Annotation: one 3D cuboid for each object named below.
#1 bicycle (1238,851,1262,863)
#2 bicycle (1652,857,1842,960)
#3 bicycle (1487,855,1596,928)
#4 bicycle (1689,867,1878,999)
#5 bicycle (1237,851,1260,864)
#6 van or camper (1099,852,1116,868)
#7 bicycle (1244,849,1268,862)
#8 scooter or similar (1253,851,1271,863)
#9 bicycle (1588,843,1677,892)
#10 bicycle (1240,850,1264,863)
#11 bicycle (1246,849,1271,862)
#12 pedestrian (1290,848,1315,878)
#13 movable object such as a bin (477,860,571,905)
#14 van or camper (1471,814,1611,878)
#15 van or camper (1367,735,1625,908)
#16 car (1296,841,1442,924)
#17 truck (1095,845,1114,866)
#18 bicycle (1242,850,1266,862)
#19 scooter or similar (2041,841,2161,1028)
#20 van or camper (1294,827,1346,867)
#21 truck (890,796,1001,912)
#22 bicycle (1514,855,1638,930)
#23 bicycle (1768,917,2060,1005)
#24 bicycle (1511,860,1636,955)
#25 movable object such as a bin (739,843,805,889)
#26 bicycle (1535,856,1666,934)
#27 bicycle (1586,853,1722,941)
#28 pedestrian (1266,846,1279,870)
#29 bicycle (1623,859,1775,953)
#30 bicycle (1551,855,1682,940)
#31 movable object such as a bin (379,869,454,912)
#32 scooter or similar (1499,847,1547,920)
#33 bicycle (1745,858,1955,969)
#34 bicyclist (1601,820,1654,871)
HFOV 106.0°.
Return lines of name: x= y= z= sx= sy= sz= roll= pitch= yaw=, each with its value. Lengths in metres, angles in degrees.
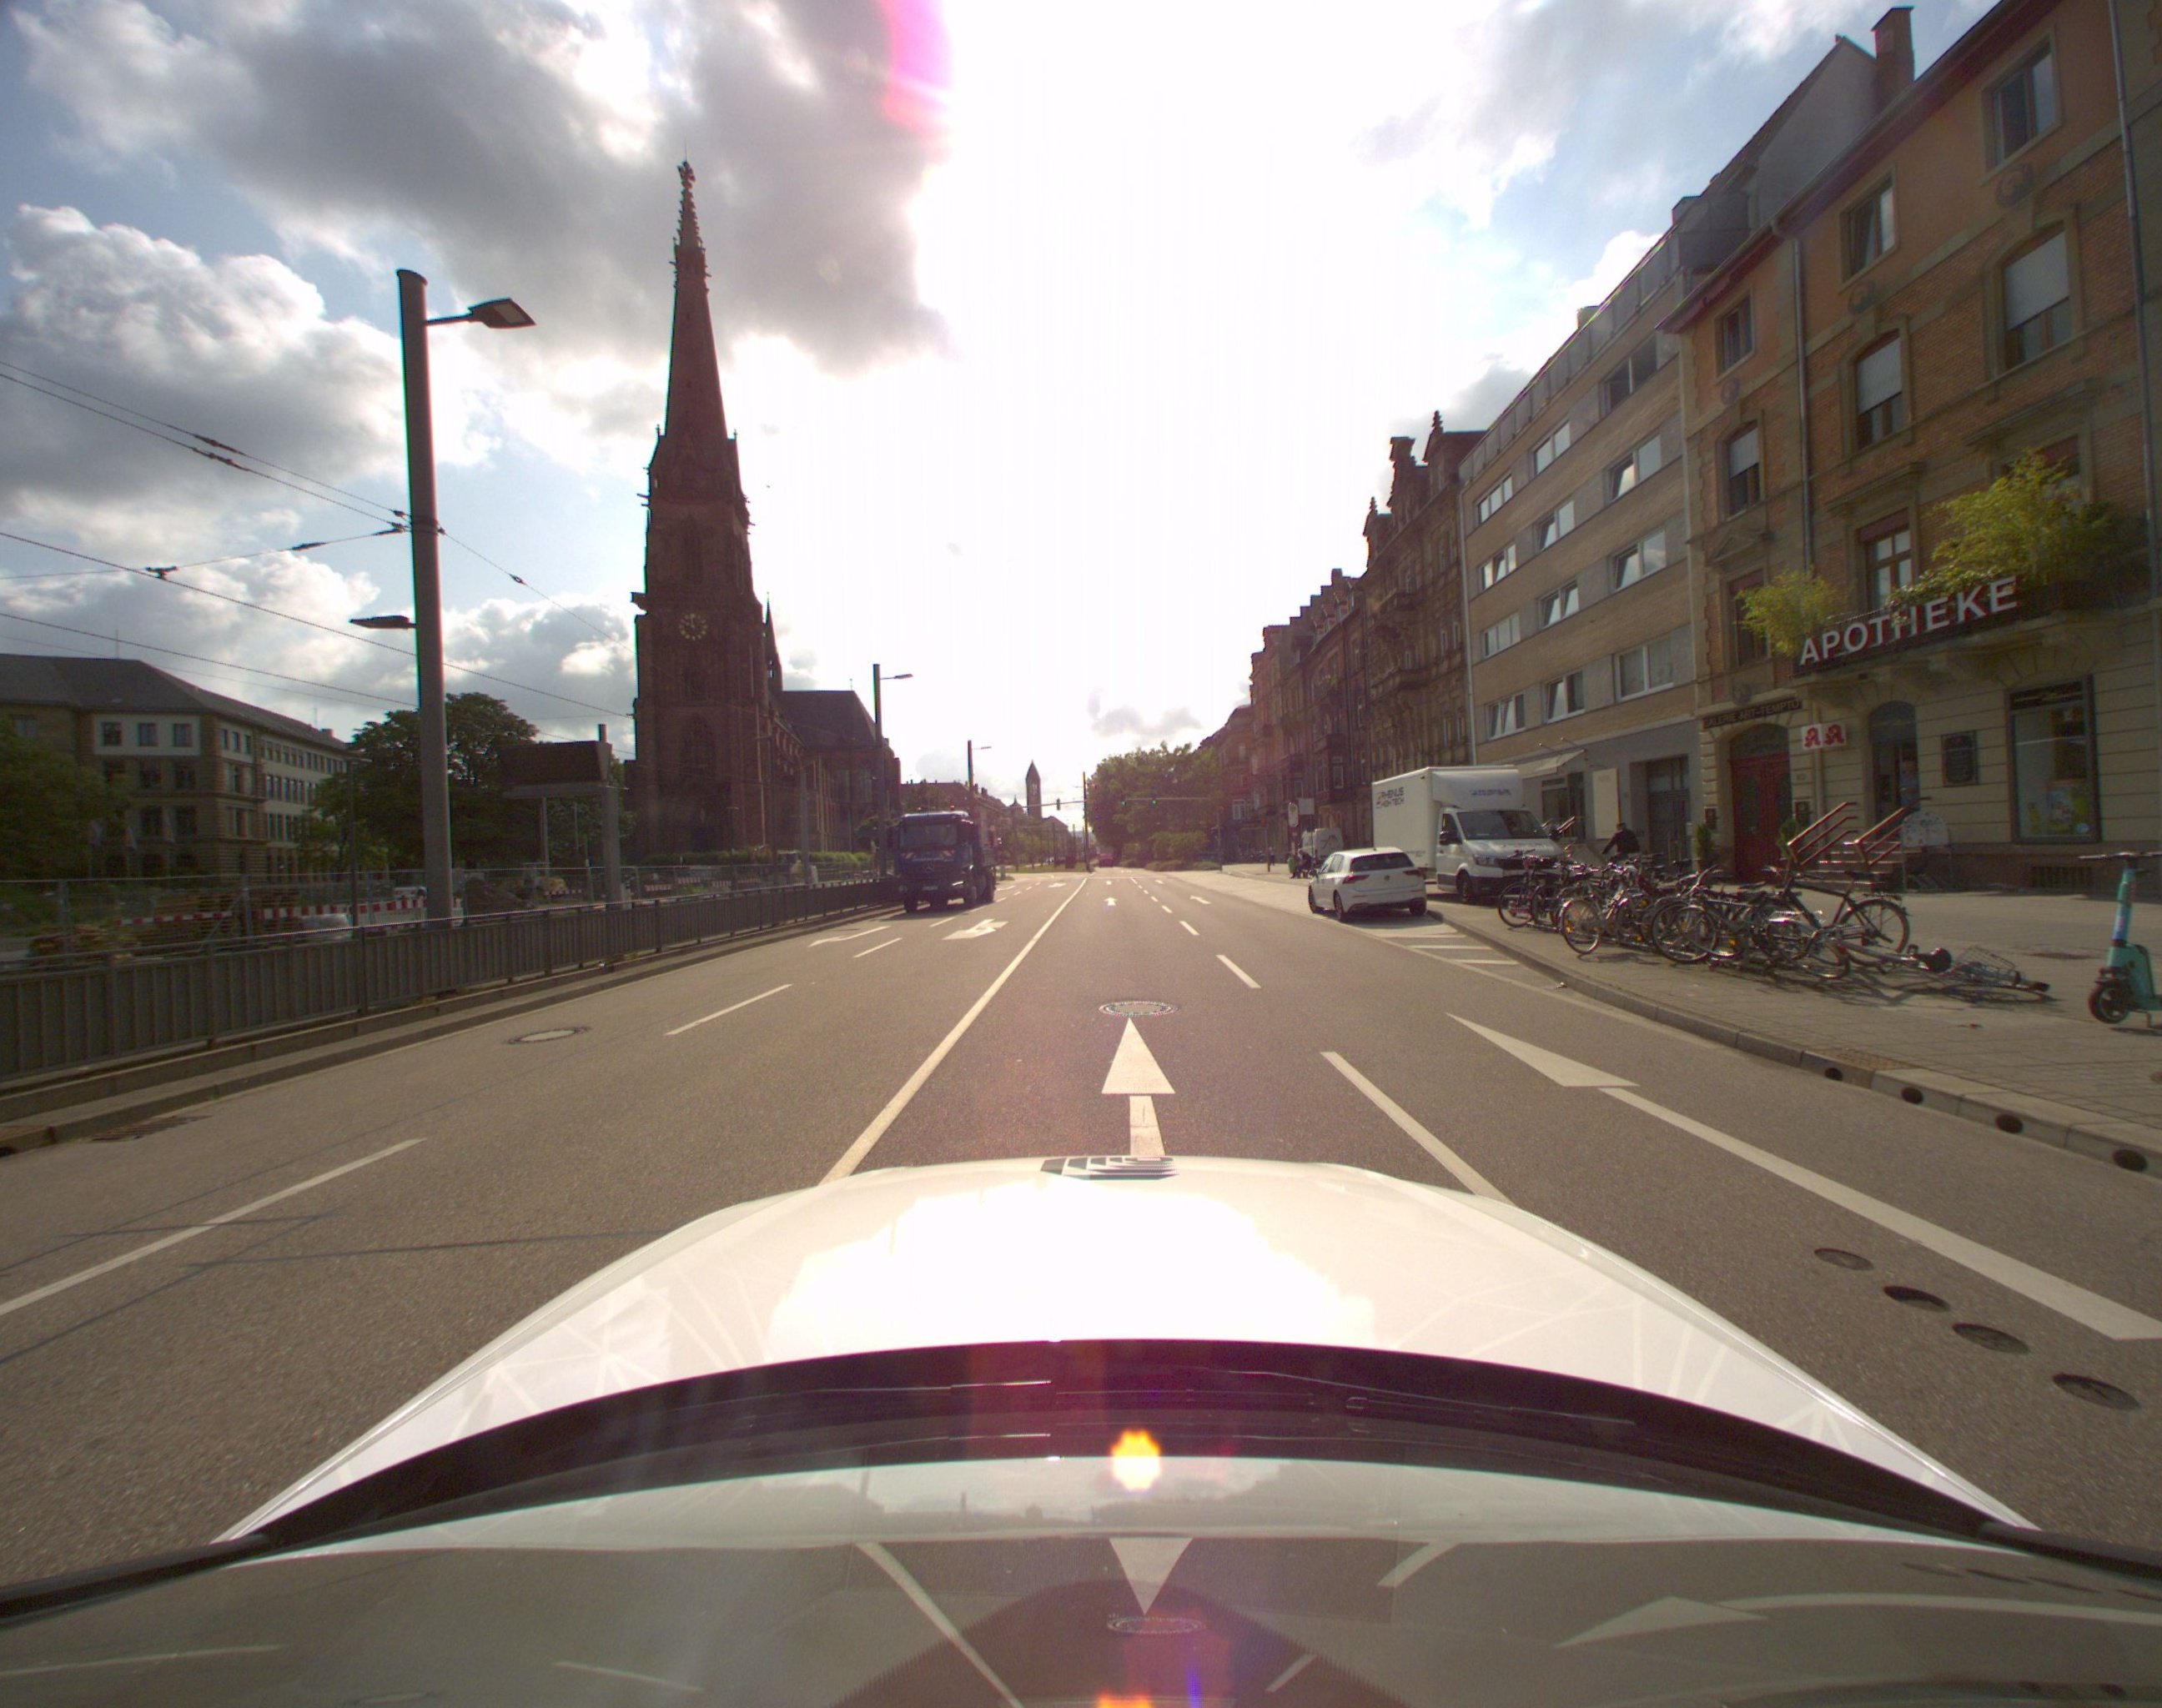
bicycle: x=16.891 y=0.289 z=81.446 sx=2.184 sy=1.181 sz=0.683 roll=-2 pitch=0 yaw=-3
bicycle: x=7.391 y=0.602 z=9.072 sx=1.750 sy=1.085 sz=0.373 roll=-1 pitch=1 yaw=3
bicycle: x=7.401 y=0.592 z=13.068 sx=1.761 sy=1.085 sz=0.370 roll=-1 pitch=1 yaw=-15
bicycle: x=6.770 y=0.700 z=7.968 sx=0.370 sy=1.071 sz=1.765 roll=-1 pitch=1 yaw=1
bicycle: x=16.893 y=0.332 z=82.120 sx=2.184 sy=1.181 sz=0.683 roll=-2 pitch=0 yaw=-3
van or camper: x=3.606 y=0.813 z=112.416 sx=2.004 sy=1.915 sz=4.517 roll=0 pitch=-4 yaw=-2
bicycle: x=17.077 y=0.156 z=79.352 sx=2.184 sy=1.181 sz=0.683 roll=-2 pitch=0 yaw=-3
scooter or similar: x=16.898 y=0.274 z=76.040 sx=1.558 sy=1.097 sz=0.452 roll=-2 pitch=0 yaw=5
bicycle: x=13.018 y=0.354 z=19.303 sx=0.701 sy=1.048 sz=2.210 roll=0 pitch=-4 yaw=4
bicycle: x=16.948 y=0.242 z=80.709 sx=2.184 sy=1.181 sz=0.683 roll=-2 pitch=0 yaw=-3
bicycle: x=17.123 y=0.107 z=78.586 sx=2.184 sy=1.181 sz=0.683 roll=-2 pitch=0 yaw=-3
pedestrian: x=9.973 y=0.396 z=36.704 sx=0.748 sy=1.316 sz=0.812 roll=0 pitch=-1 yaw=-37
movable object such as a bin: x=-37.516 y=1.918 z=54.931 sx=4.885 sy=2.801 sz=2.001 roll=-2 pitch=0 yaw=2
van or camper: x=16.152 y=-0.267 z=28.980 sx=1.986 sy=1.904 sz=5.300 roll=-4 pitch=0 yaw=2
van or camper: x=9.603 y=-0.642 z=20.060 sx=2.701 sy=3.330 sz=7.646 roll=-2 pitch=0 yaw=3
car: x=6.139 y=0.567 z=17.931 sx=1.783 sy=1.437 sz=4.347 roll=-6 pitch=-1 yaw=3
truck: x=4.232 y=0.360 z=142.866 sx=3.157 sy=3.287 sz=7.299 roll=-1 pitch=-3 yaw=3
bicycle: x=16.994 y=0.197 z=80.002 sx=2.184 sy=1.181 sz=0.683 roll=-2 pitch=0 yaw=-3
scooter or similar: x=7.694 y=0.550 z=5.912 sx=1.162 sy=1.238 sz=0.381 roll=-3 pitch=0 yaw=-10
van or camper: x=16.020 y=-0.443 z=54.906 sx=1.986 sy=2.474 sz=5.567 roll=-2 pitch=0 yaw=2
truck: x=-4.756 y=0.014 z=30.091 sx=2.453 sy=3.648 sz=7.453 roll=-2 pitch=0 yaw=2
bicycle: x=7.651 y=0.585 z=12.594 sx=1.755 sy=1.085 sz=0.372 roll=-1 pitch=1 yaw=-5
bicycle: x=7.355 y=0.908 z=7.275 sx=0.641 sy=0.586 sz=1.750 roll=-2 pitch=0 yaw=-38
bicycle: x=6.124 y=0.638 z=10.123 sx=1.600 sy=1.085 sz=0.370 roll=-2 pitch=1 yaw=-18
movable object such as a bin: x=-26.379 y=0.982 z=69.759 sx=2.650 sy=3.730 sz=5.608 roll=-2 pitch=0 yaw=9
bicycle: x=7.678 y=0.597 z=12.045 sx=1.755 sy=1.085 sz=0.372 roll=-1 pitch=1 yaw=-5
bicycle: x=7.626 y=0.560 z=10.839 sx=1.759 sy=1.085 sz=0.371 roll=-1 pitch=1 yaw=-11
pedestrian: x=15.852 y=0.329 z=67.318 sx=0.882 sy=2.014 sz=0.996 roll=0 pitch=-1 yaw=2
bicycle: x=7.620 y=0.624 z=10.054 sx=1.757 sy=1.085 sz=0.371 roll=-1 pitch=1 yaw=-8
bicycle: x=7.383 y=0.585 z=11.228 sx=1.759 sy=1.085 sz=0.371 roll=-1 pitch=1 yaw=-11
movable object such as a bin: x=-37.510 y=2.015 z=46.084 sx=2.001 sy=2.206 sz=4.242 roll=-2 pitch=0 yaw=-21
scooter or similar: x=7.687 y=0.494 z=14.198 sx=0.366 sy=1.213 sz=1.255 roll=0 pitch=0 yaw=11
bicycle: x=7.930 y=0.607 z=8.428 sx=1.750 sy=1.085 sz=0.373 roll=-1 pitch=1 yaw=3
bicyclist: x=13.019 y=-0.187 z=19.431 sx=0.705 sy=1.148 sz=0.814 roll=0 pitch=-4 yaw=4
